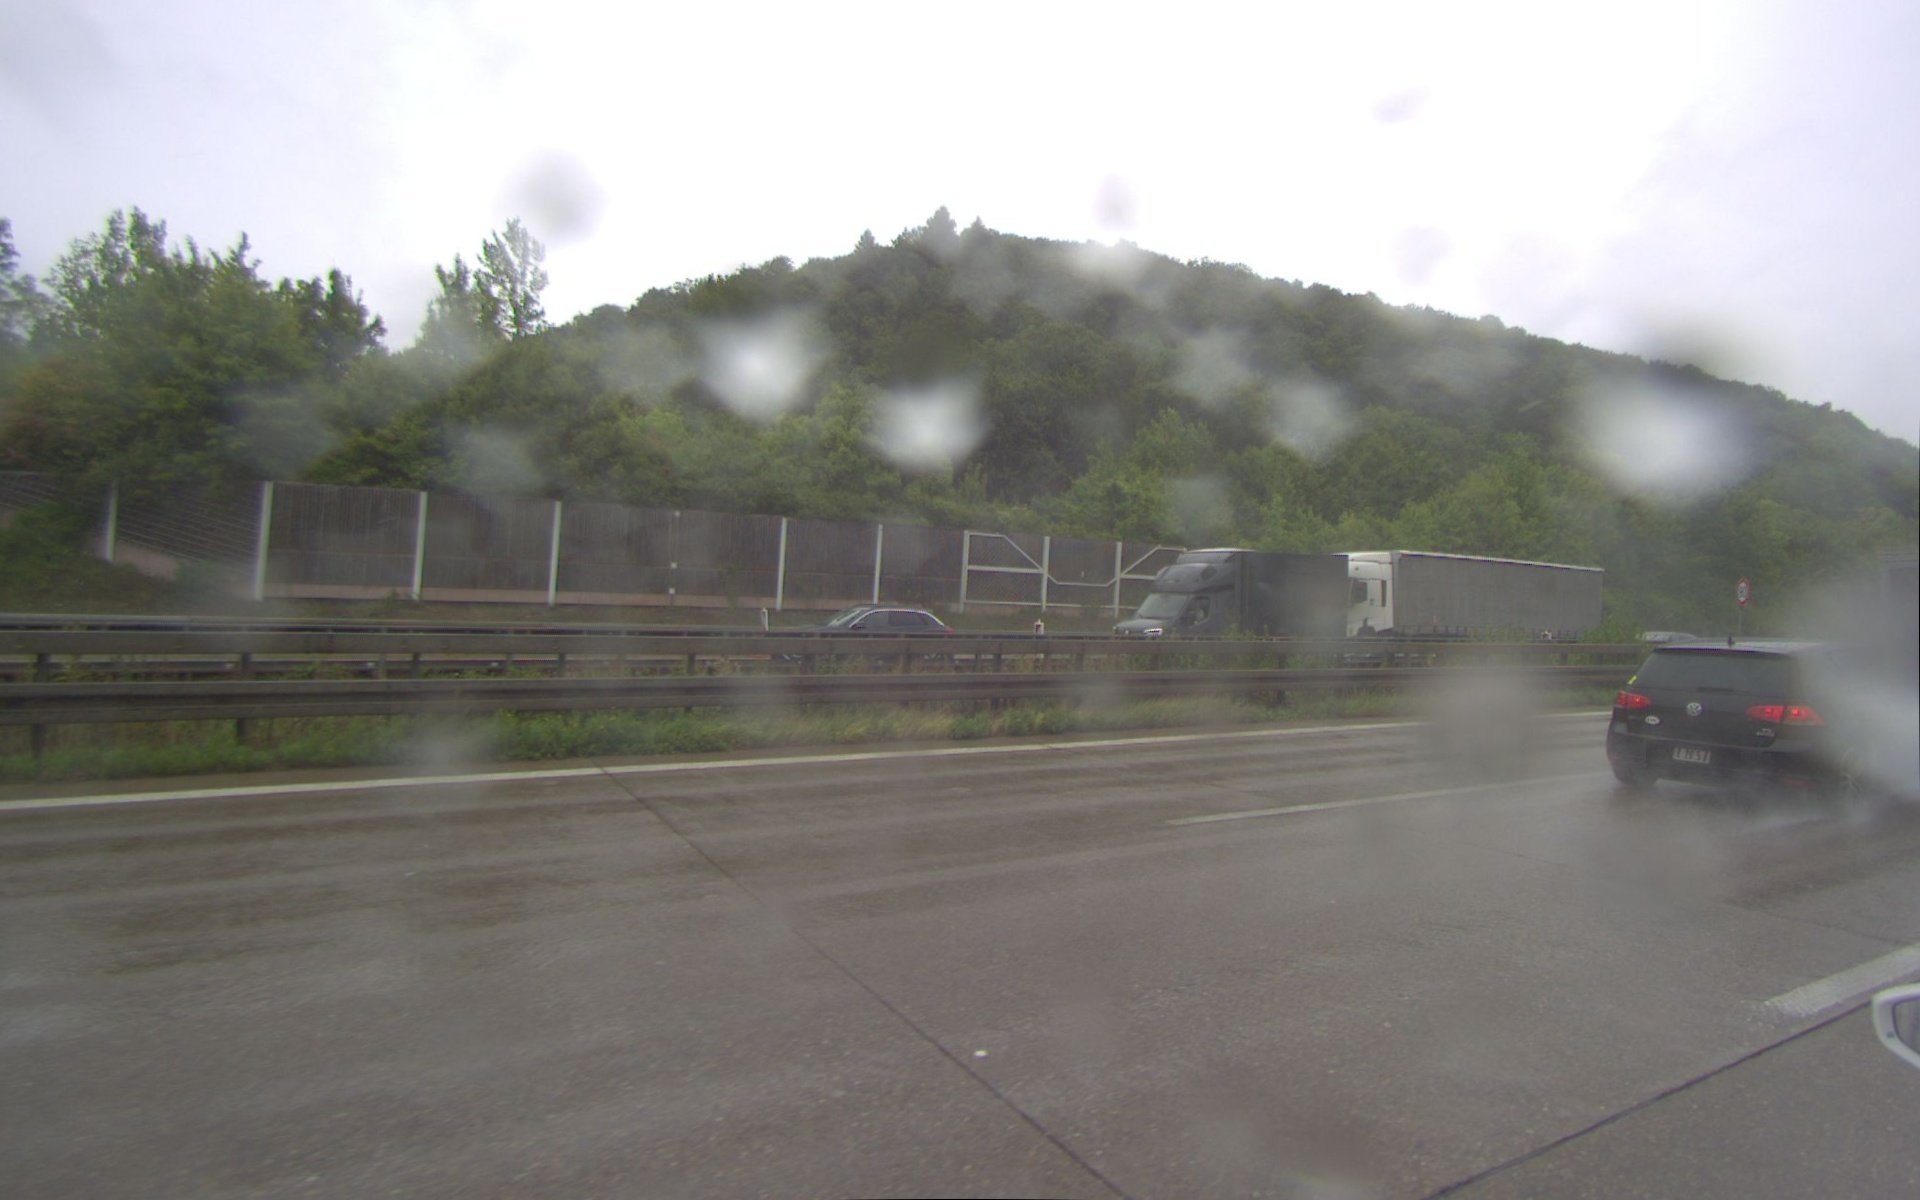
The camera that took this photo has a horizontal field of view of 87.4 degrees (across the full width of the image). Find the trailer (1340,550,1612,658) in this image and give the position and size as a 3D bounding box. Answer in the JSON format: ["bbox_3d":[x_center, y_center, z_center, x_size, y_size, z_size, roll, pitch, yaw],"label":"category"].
[{"bbox_3d":[21.152,0.265,40.582,13.614,3.852,2.754,2,1,-30],"label":"trailer"}]

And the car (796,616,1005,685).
[{"bbox_3d":[-1.296,1.102,22.553,4.374,1.357,1.743,2,1,-31],"label":"car"}]

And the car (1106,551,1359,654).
[{"bbox_3d":[7.734,0.126,28.125,7.355,2.601,2.173,2,1,-29],"label":"car"}]

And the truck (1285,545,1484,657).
[{"bbox_3d":[15.955,0.105,37.573,7.589,3.852,2.762,2,1,-30],"label":"truck"}]

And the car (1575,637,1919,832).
[{"bbox_3d":[7.712,1.086,9.281,4.273,1.406,1.732,2,-2,-32],"label":"car"}]
